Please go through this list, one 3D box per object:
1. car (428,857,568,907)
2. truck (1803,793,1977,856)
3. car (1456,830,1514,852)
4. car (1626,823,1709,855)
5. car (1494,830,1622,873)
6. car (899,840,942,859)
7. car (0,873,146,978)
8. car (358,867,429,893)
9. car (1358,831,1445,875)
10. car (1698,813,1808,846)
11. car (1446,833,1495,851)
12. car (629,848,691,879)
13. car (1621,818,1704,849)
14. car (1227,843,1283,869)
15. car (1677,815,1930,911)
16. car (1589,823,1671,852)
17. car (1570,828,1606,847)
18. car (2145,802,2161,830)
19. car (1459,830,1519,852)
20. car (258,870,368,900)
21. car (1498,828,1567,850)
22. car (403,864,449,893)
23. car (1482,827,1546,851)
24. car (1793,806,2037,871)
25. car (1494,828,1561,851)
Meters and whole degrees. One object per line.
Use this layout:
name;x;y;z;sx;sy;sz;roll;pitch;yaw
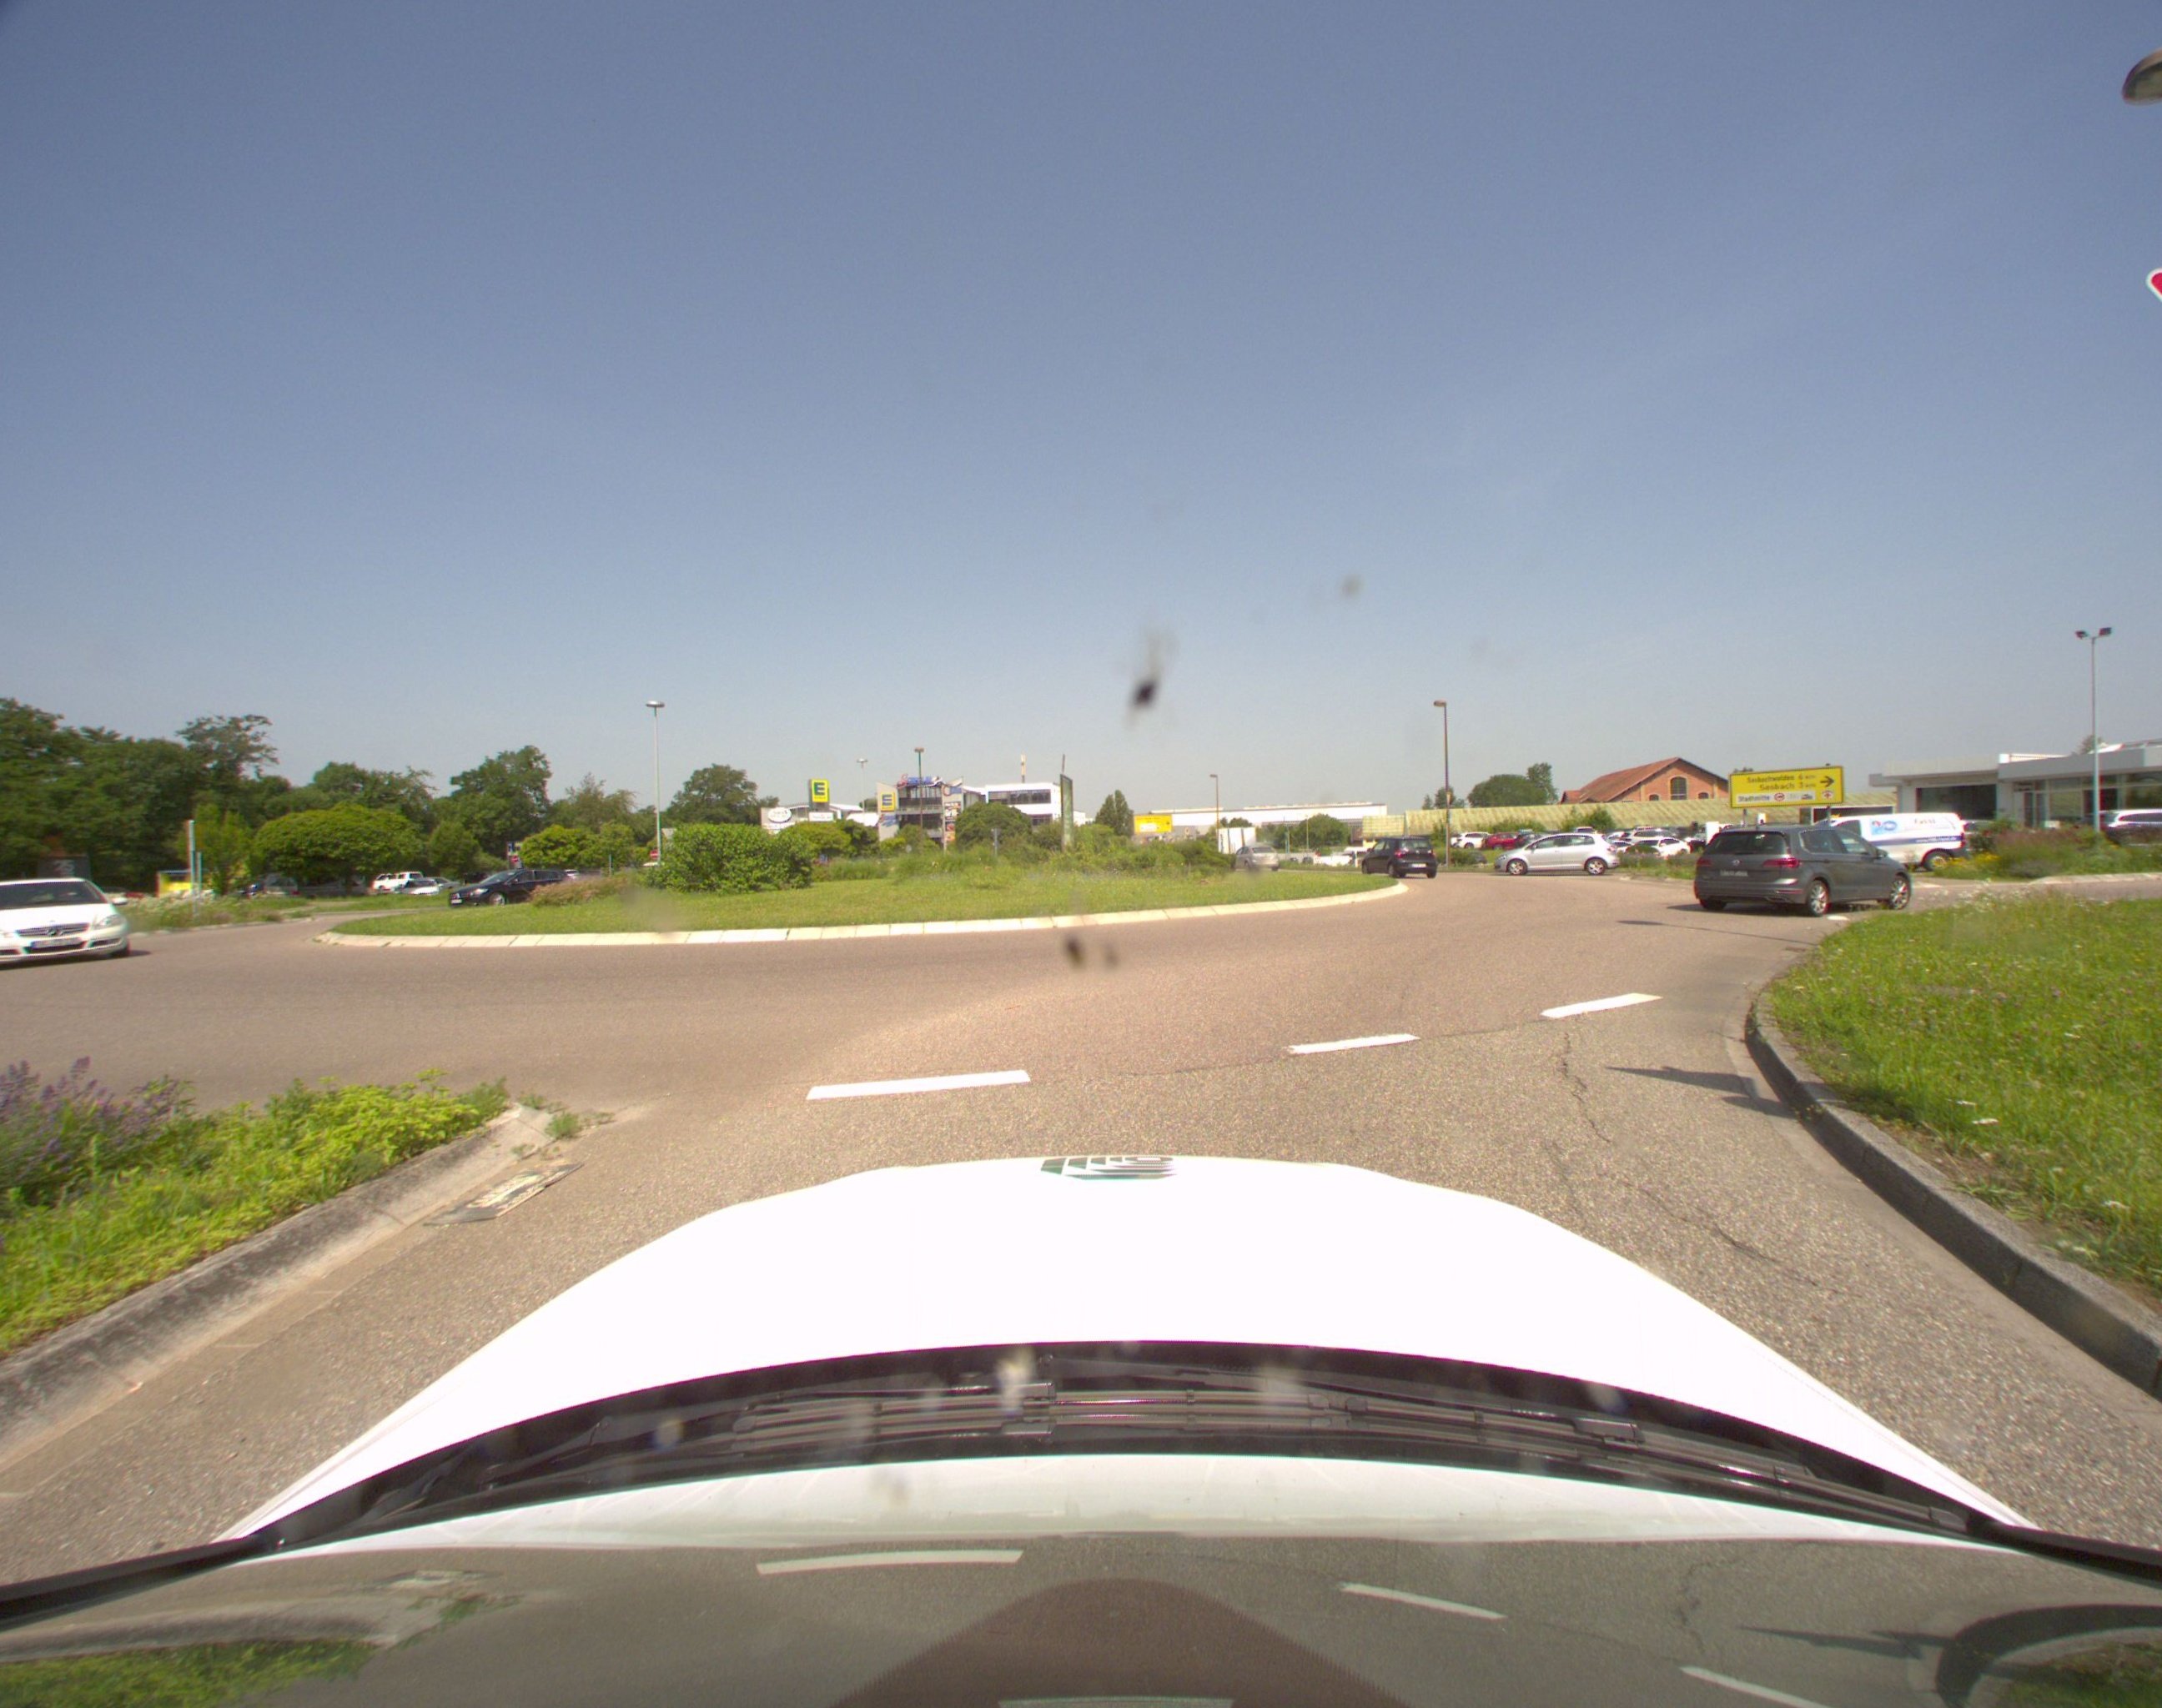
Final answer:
car;-22.321;1.033;31.410;1.740;1.530;4.228;-4;1;12
truck;38.591;-1.367;39.064;5.559;2.665;1.960;-2;0;23
car;36.505;-1.159;73.764;4.418;1.747;1.848;-2;0;17
car;35.111;-0.899;48.762;4.670;1.570;1.755;-5;1;-22
car;17.881;-0.073;30.607;4.033;1.530;1.796;-1;-1;33
car;-14.178;-0.389;72.027;3.286;1.574;1.563;-2;-1;18
car;-19.385;1.242;15.181;3.843;1.603;1.798;0;2;30
car;-40.971;1.540;48.592;2.829;1.497;1.578;0;-1;-13
car;11.847;-0.014;30.407;1.772;1.530;4.001;0;-1;2
car;38.506;-1.383;46.782;4.377;1.500;1.958;-5;-2;17
car;36.440;-1.142;76.318;3.844;1.532;1.776;-2;0;17
car;-28.898;0.644;56.028;1.677;2.014;4.011;-1;-1;10
car;38.244;-1.362;53.695;3.964;1.750;1.959;-3;0;17
car;9.706;0.118;45.845;1.778;1.406;4.074;0;-1;-8
car;13.163;0.119;14.850;4.042;1.484;1.761;-3;0;-21
car;34.532;-1.020;51.247;4.573;1.570;1.758;-3;-1;-17
car;47.132;-1.534;75.760;1.900;1.596;4.326;-2;0;20
car;63.748;-2.237;45.984;3.992;1.586;1.920;-2;0;23
car;35.812;-1.131;71.549;4.418;1.747;1.848;-2;0;17
car;-42.248;1.668;44.953;1.864;1.561;4.405;0;-1;0
car;35.306;-1.166;63.820;4.418;1.500;1.959;-2;0;17
car;-36.910;1.349;45.859;1.595;1.497;4.509;0;-1;-44
car;36.366;-1.242;68.503;4.418;1.747;1.959;-2;0;17
car;26.581;-0.425;26.233;5.167;1.938;1.871;-1;-1;23
car;36.085;-1.160;65.968;4.418;1.634;1.959;-2;0;17
